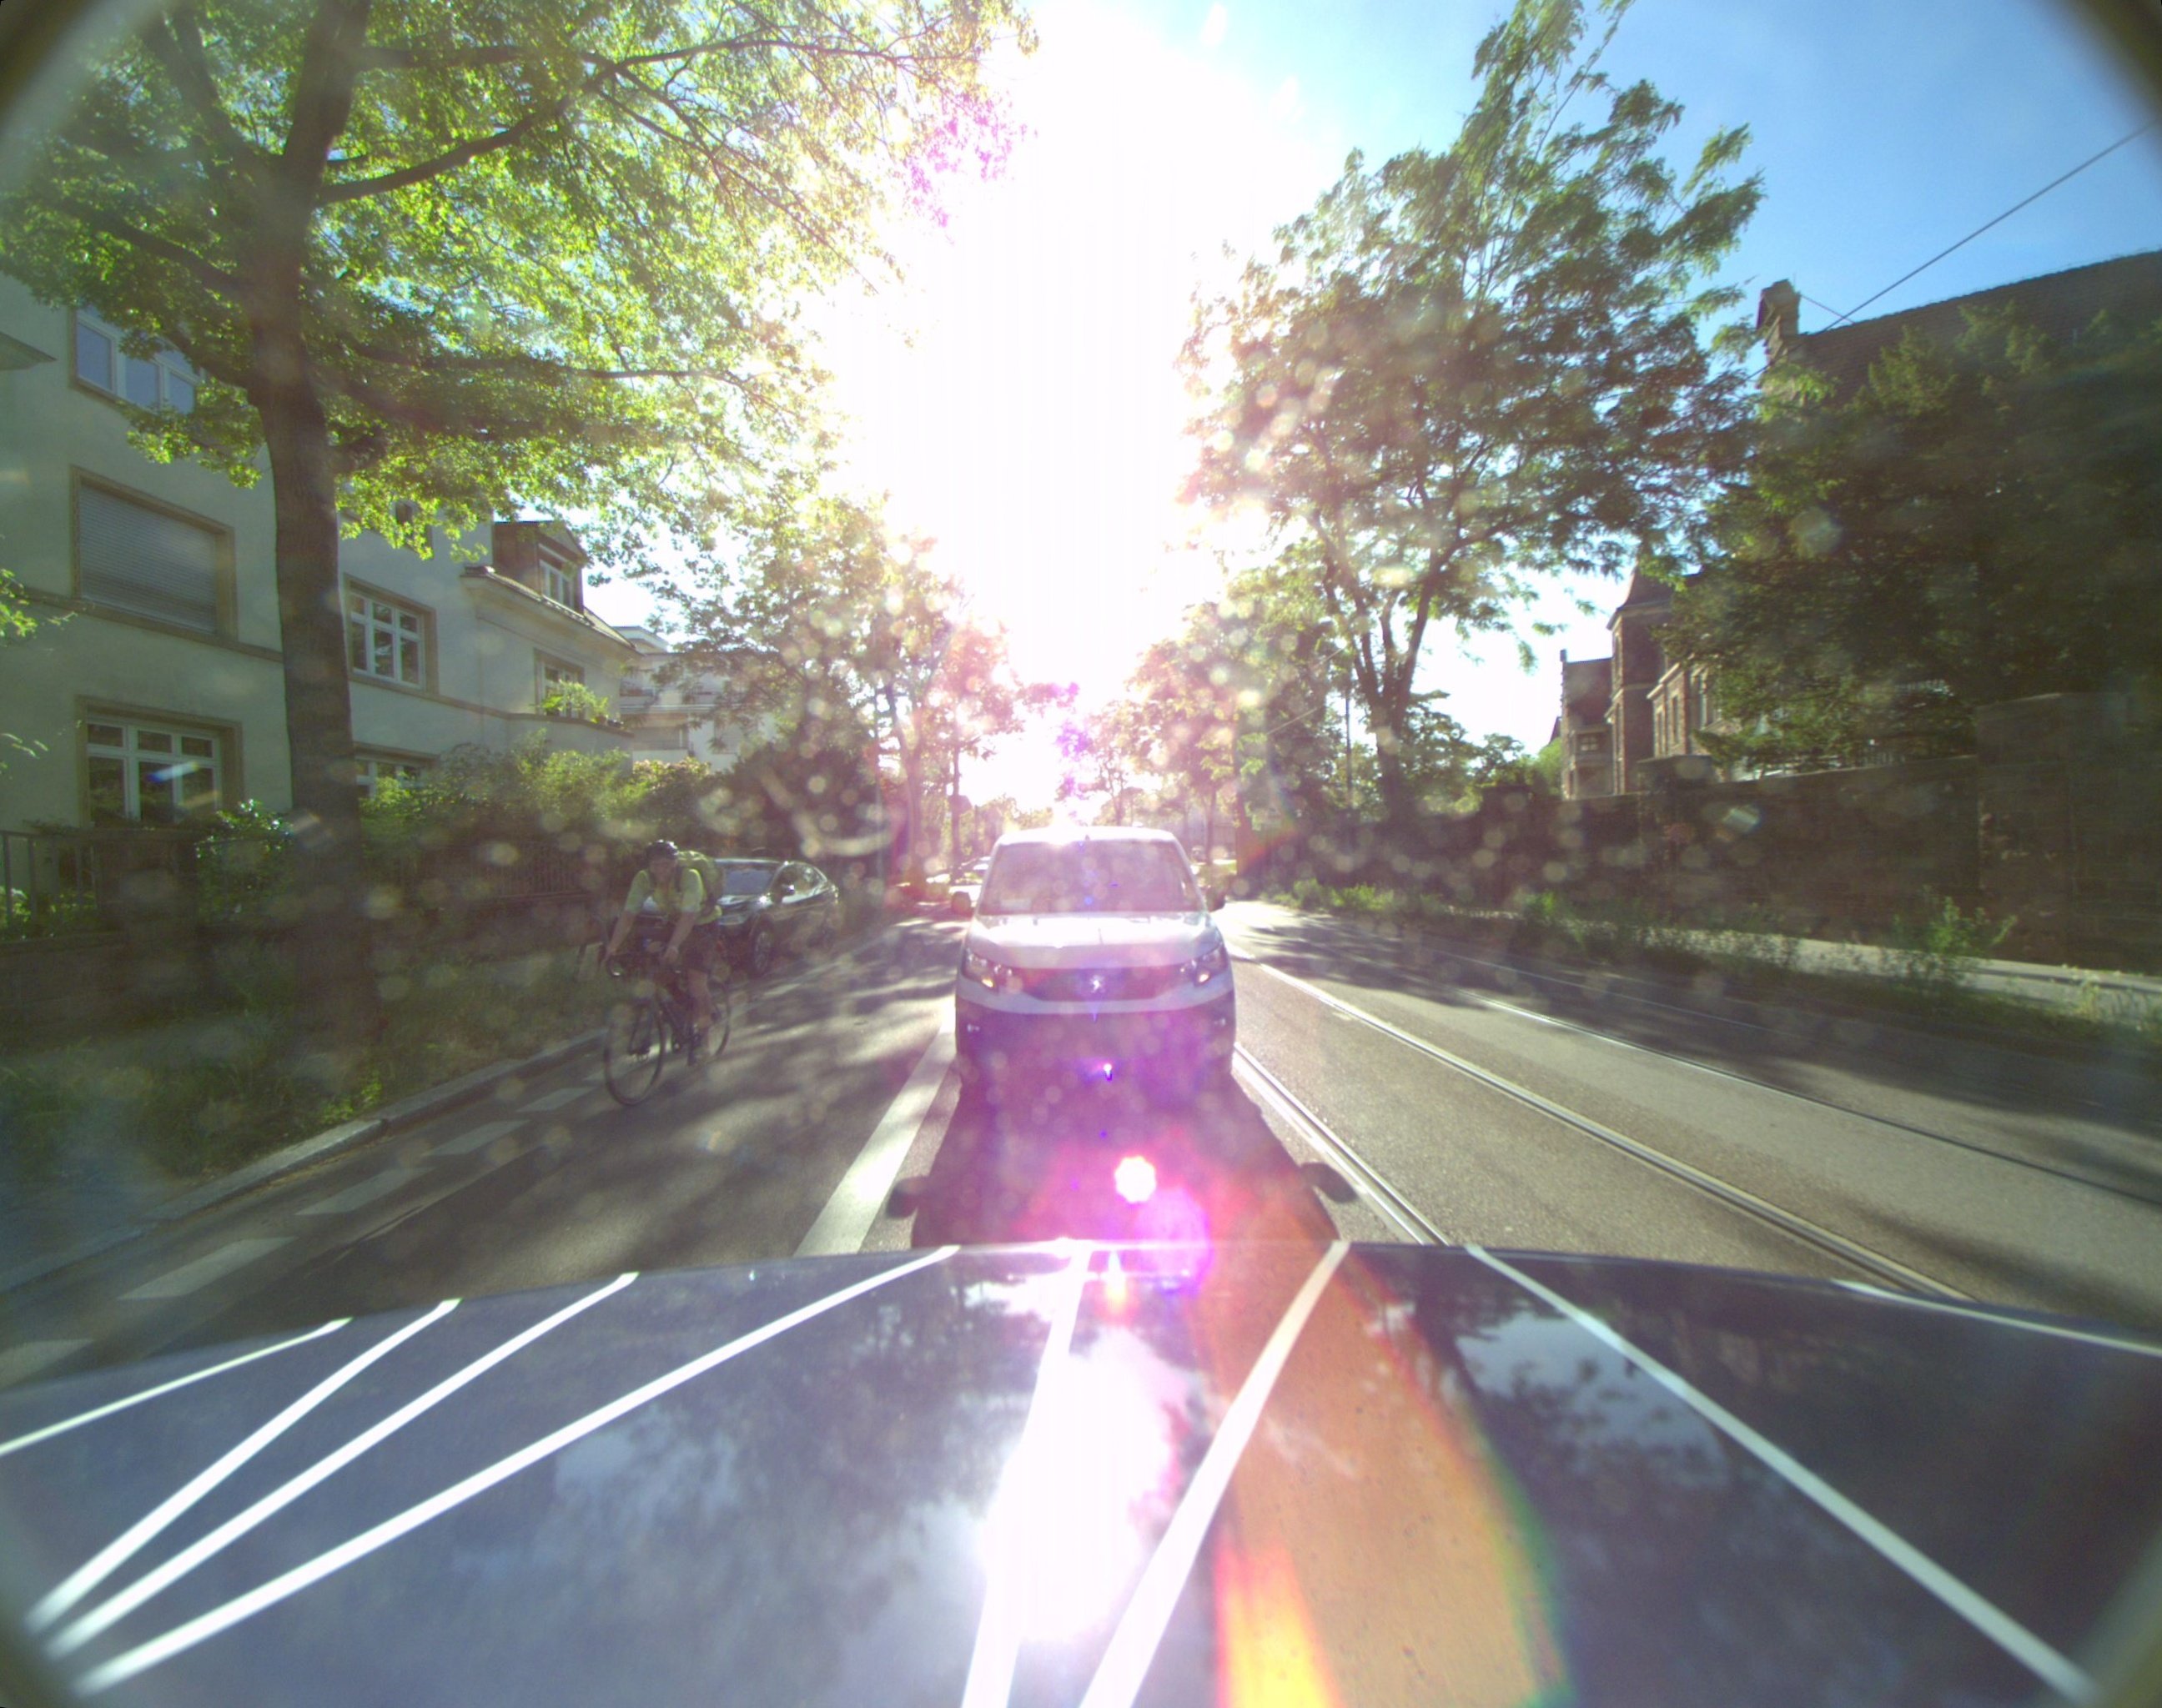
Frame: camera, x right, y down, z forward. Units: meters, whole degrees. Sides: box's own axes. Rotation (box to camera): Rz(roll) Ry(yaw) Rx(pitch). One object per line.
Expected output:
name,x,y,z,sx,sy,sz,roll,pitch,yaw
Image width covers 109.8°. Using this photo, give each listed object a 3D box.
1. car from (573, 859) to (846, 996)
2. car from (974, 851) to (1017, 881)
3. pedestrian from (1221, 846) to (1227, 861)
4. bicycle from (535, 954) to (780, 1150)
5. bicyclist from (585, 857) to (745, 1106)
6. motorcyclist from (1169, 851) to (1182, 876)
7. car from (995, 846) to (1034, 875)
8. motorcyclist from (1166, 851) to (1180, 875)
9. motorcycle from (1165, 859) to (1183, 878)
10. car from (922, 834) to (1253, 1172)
car,-5.246,0.938,11.543,1.999,1.665,4.380,1,-1,0
car,-5.036,0.671,45.217,1.823,1.630,4.001,-2,0,4
pedestrian,24.047,-0.097,128.031,0.767,2.353,0.927,-2,1,17
bicycle,-2.930,1.320,5.525,0.677,0.920,1.885,-2,0,1
bicyclist,-2.946,0.857,5.452,0.677,1.648,0.745,-2,1,1
motorcyclist,5.682,0.559,45.657,0.608,1.507,0.465,-2,1,-7
car,-4.492,0.420,52.005,2.129,1.884,4.746,-2,0,1
motorcyclist,5.583,0.548,46.161,0.686,1.432,0.446,-2,1,-6
motorcycle,5.641,0.887,46.030,0.611,1.087,1.855,-2,0,-7
car,0.030,0.802,6.123,1.768,1.812,3.999,-1,0,0
